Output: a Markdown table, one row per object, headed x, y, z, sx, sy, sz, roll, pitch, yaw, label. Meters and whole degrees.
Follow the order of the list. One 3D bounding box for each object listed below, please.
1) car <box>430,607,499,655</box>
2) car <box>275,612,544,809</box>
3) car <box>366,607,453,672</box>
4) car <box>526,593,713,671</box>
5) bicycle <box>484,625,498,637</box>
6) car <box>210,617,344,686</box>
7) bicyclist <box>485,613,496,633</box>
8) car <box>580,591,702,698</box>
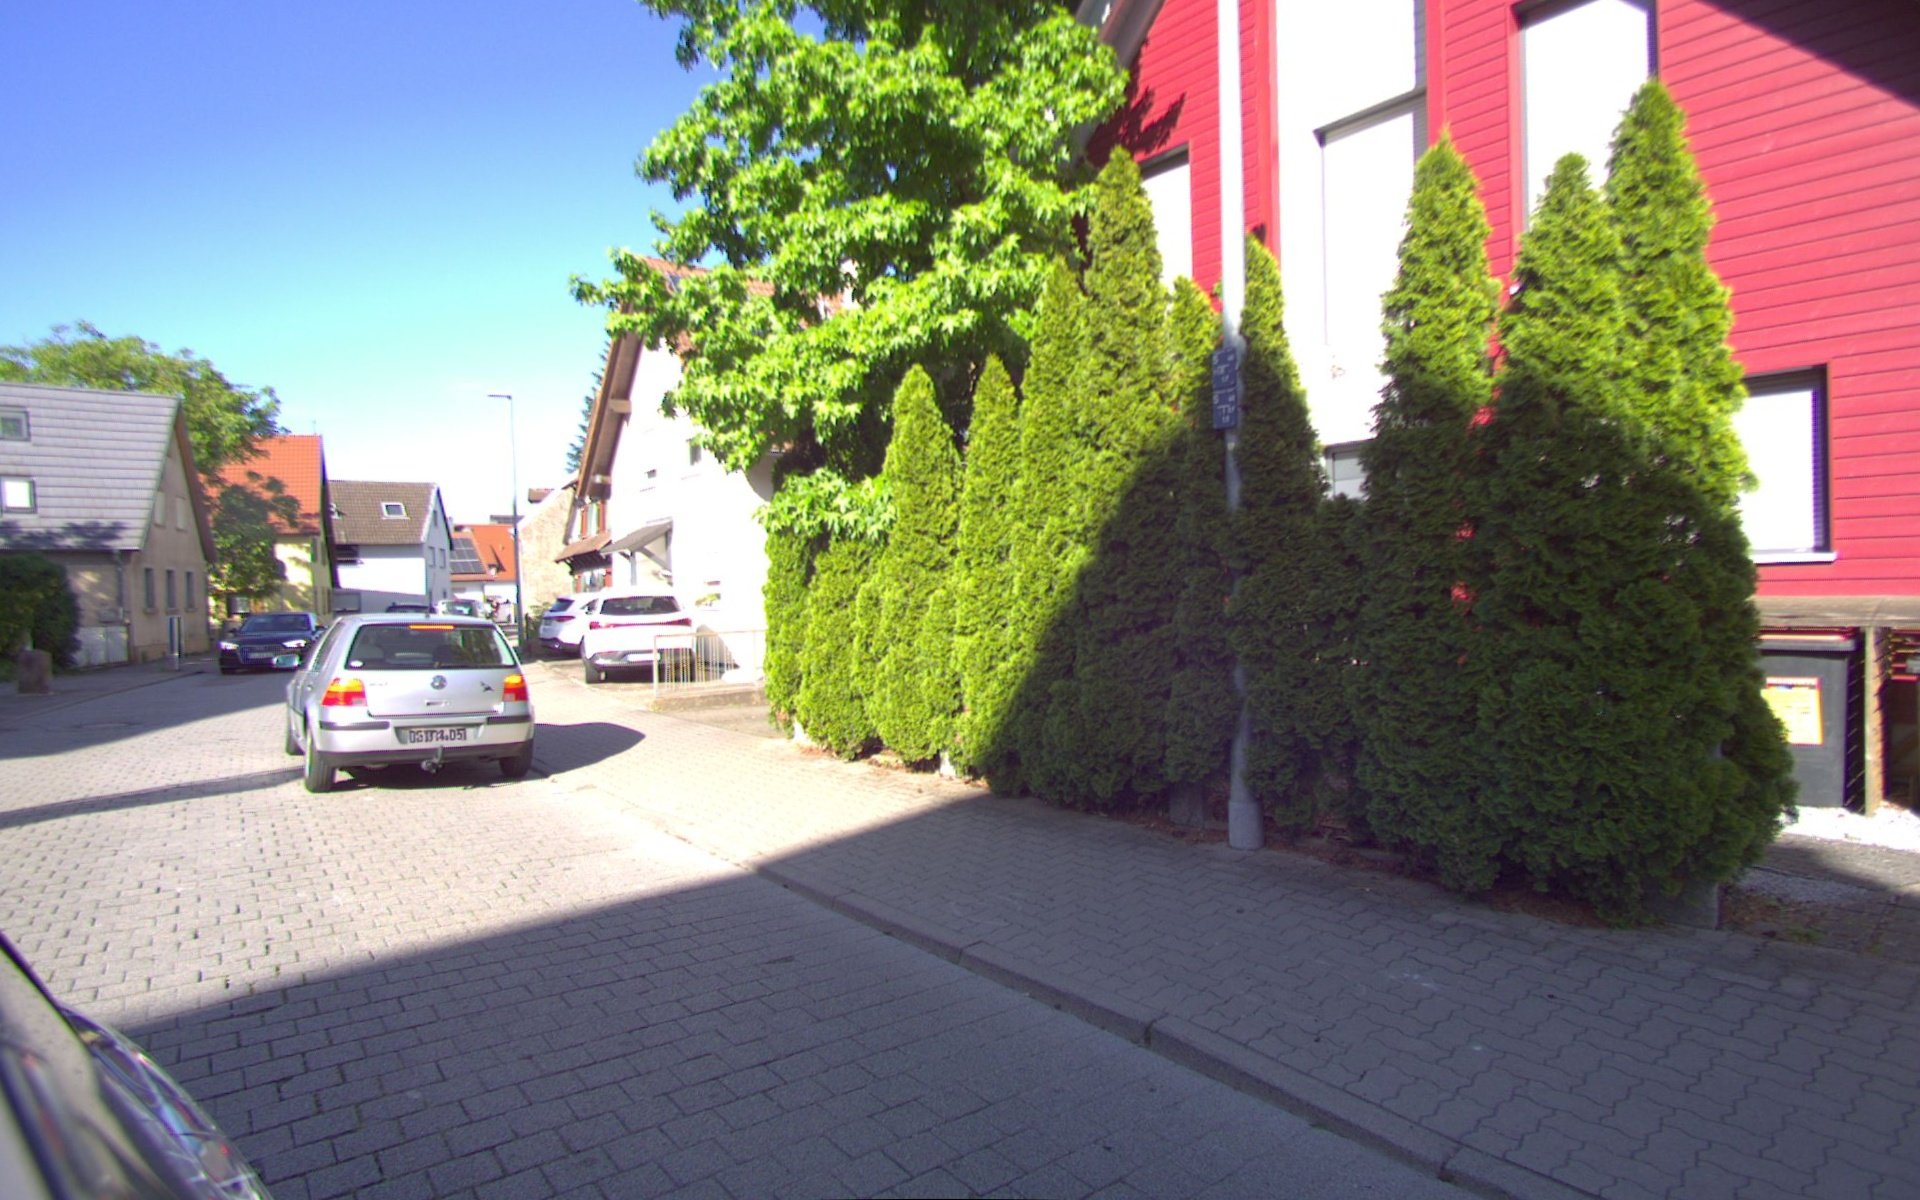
| x | y | z | sx | sy | sz | roll | pitch | yaw | label |
| --- | --- | --- | --- | --- | --- | --- | --- | --- | --- |
| -19.490 | 1.193 | 39.980 | 1.807 | 1.803 | 4.366 | 1 | -1 | -17 | car |
| -5.224 | 0.825 | 9.343 | 1.649 | 1.413 | 3.901 | 1 | -1 | -36 | car |
| -15.833 | 1.064 | 29.287 | 1.806 | 1.683 | 4.367 | -1 | 0 | -24 | car |
| -8.507 | 0.754 | 25.407 | 3.936 | 1.601 | 2.004 | -4 | 1 | -38 | car |
| -31.154 | 2.028 | 67.257 | 0.573 | 0.767 | 1.804 | 0 | -1 | -15 | bicycle |
| -16.388 | 1.195 | 24.513 | 1.777 | 1.489 | 4.358 | 0 | -2 | -22 | car |
| -31.181 | 1.531 | 67.253 | 0.573 | 1.330 | 0.610 | 0 | -1 | -15 | bicyclist |
| -5.873 | 0.700 | 18.379 | 1.792 | 1.607 | 4.460 | -3 | 1 | -20 | car |
